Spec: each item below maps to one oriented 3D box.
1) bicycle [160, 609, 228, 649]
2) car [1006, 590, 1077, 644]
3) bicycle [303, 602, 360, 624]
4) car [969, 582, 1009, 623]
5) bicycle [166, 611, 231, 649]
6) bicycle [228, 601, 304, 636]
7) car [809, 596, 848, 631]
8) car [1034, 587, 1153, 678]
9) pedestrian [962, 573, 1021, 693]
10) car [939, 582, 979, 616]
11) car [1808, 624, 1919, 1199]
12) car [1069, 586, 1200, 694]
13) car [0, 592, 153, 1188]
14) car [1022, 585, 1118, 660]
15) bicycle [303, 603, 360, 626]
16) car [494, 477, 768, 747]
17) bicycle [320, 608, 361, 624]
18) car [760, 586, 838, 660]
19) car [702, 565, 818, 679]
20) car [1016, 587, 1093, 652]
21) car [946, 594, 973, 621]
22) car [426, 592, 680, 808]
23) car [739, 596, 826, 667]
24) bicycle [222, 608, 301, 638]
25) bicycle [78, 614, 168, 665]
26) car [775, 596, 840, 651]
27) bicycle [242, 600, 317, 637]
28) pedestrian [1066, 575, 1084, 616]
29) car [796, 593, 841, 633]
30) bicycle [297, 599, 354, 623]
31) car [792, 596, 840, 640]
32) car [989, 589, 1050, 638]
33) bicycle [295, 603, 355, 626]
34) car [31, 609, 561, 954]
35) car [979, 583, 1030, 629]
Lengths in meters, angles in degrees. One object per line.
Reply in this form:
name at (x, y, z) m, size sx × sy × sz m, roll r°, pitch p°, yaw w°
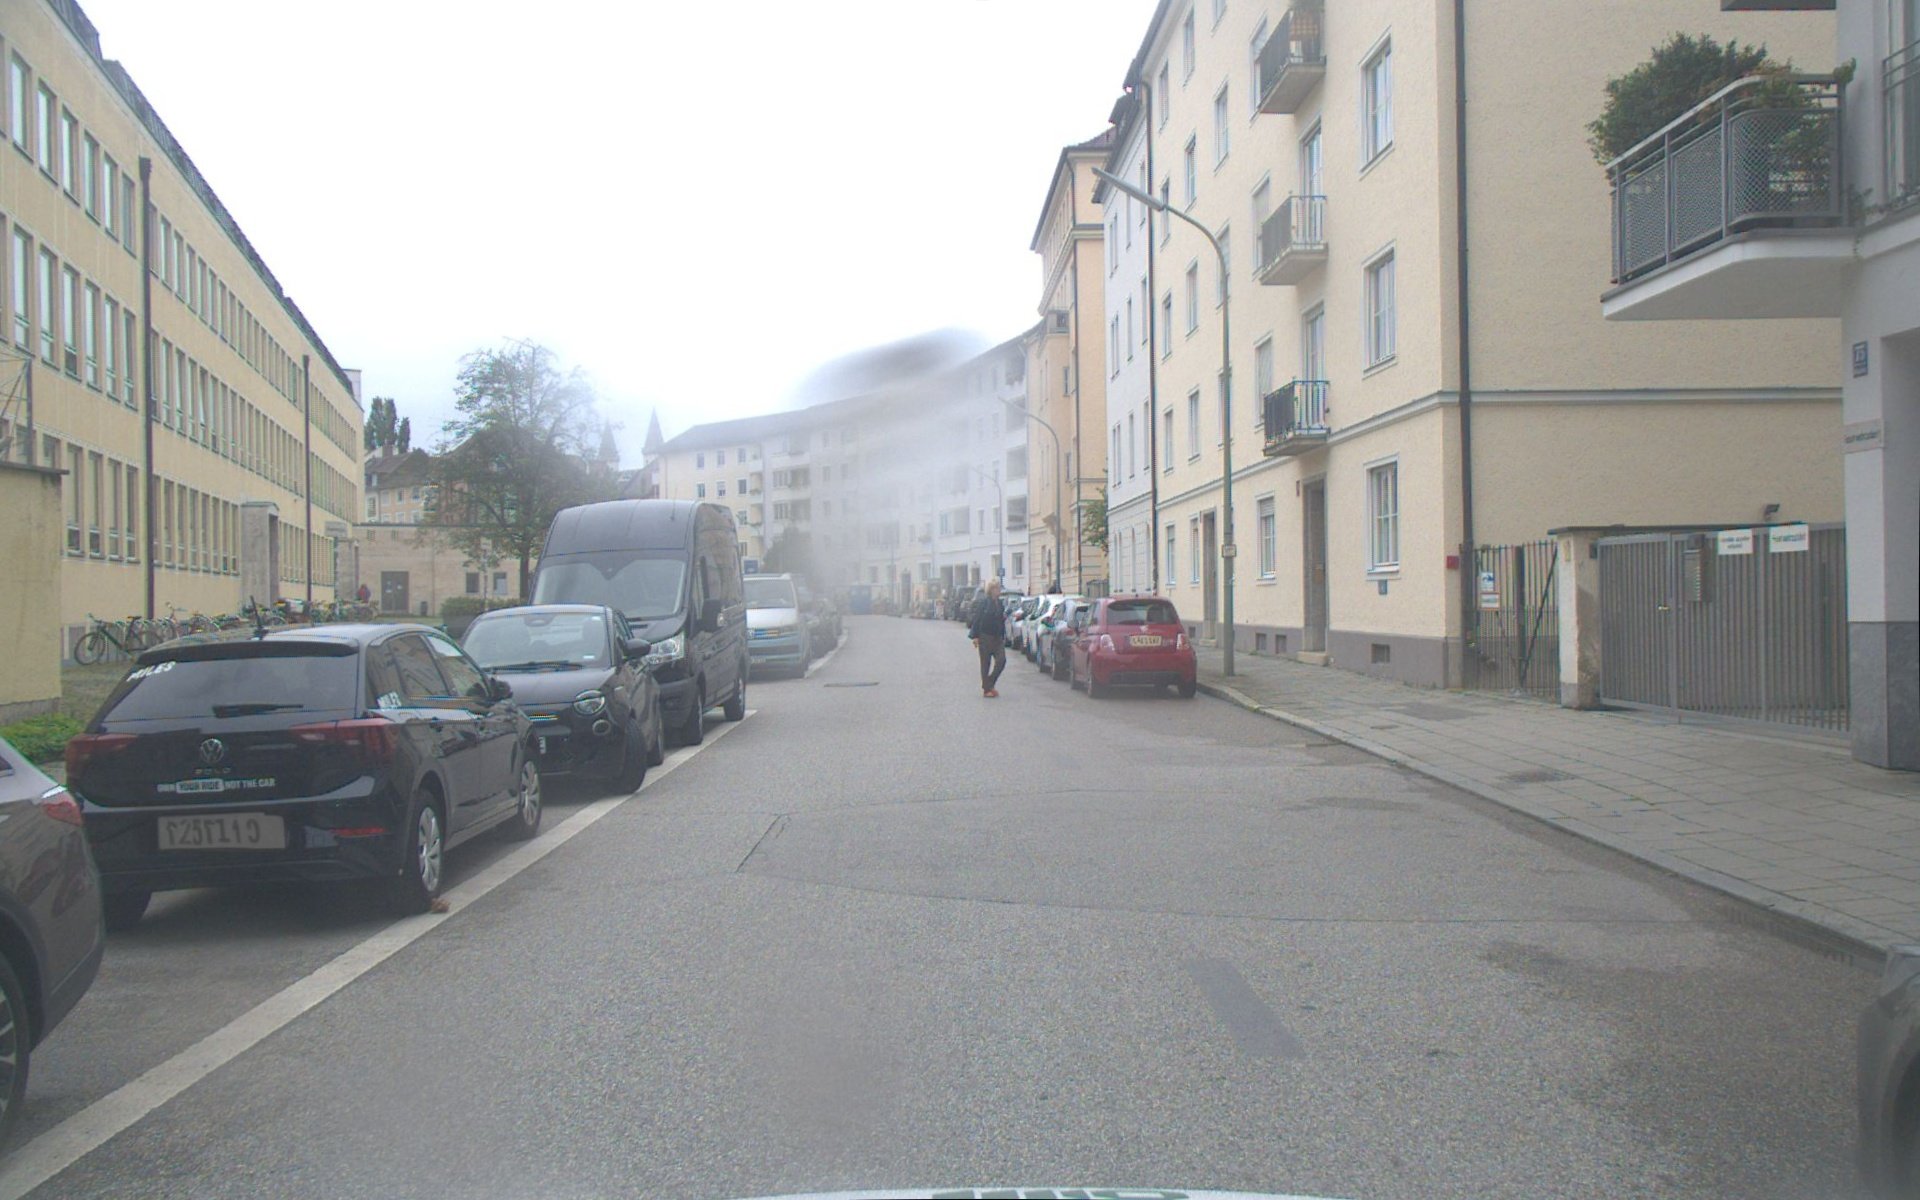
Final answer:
bicycle at (-19.173, 0.722, 41.401) m, size 1.503 × 0.971 × 0.364 m, roll 0°, pitch 0°, yaw -18°
car at (2.258, 0.479, 46.814) m, size 1.658 × 1.457 × 3.942 m, roll 0°, pitch 0°, yaw -2°
bicycle at (-25.328, 0.523, 66.680) m, size 2.087 × 0.849 × 0.644 m, roll -1°, pitch -1°, yaw -20°
car at (1.220, 0.077, 70.696) m, size 1.444 × 1.669 × 3.999 m, roll 0°, pitch 1°, yaw -3°
bicycle at (-19.752, 0.774, 42.910) m, size 1.503 × 0.971 × 0.364 m, roll 0°, pitch 0°, yaw -18°
bicycle at (-22.031, 0.595, 52.527) m, size 2.173 × 1.056 × 0.492 m, roll -1°, pitch -1°, yaw -20°
car at (-5.797, 0.571, 73.072) m, size 1.591 × 1.444 × 3.645 m, roll -2°, pitch 0°, yaw -4°
car at (2.390, 0.575, 30.604) m, size 1.658 × 1.517 × 4.341 m, roll -1°, pitch 0°, yaw -2°
pedestrian at (0.460, 0.491, 24.541) m, size 0.779 × 1.758 × 0.671 m, roll 0°, pitch -2°, yaw -9°
car at (-0.064, -0.067, 87.300) m, size 1.573 × 1.745 × 3.081 m, roll 0°, pitch 1°, yaw -11°
car at (3.027, 0.756, 1.983) m, size 1.728 × 1.432 × 4.075 m, roll -1°, pitch 0°, yaw -4°
car at (2.663, 0.573, 25.927) m, size 1.563 × 1.535 × 3.800 m, roll -1°, pitch 0°, yaw -1°
car at (-3.452, 0.804, 2.864) m, size 1.730 × 1.565 × 4.541 m, roll -3°, pitch 0°, yaw 1°
car at (2.387, 0.459, 36.800) m, size 1.658 × 1.517 × 4.281 m, roll -1°, pitch 1°, yaw -2°
bicycle at (-25.040, 0.579, 65.881) m, size 2.087 × 0.849 × 0.644 m, roll -1°, pitch -1°, yaw -20°
car at (-3.621, 0.082, 19.315) m, size 2.045 × 2.682 × 5.377 m, roll -1°, pitch 1°, yaw 0°
bicycle at (-28.397, 0.729, 75.808) m, size 1.712 × 0.727 × 0.611 m, roll -1°, pitch -1°, yaw -20°
car at (-4.103, 0.546, 42.612) m, size 1.668 × 1.720 × 4.026 m, roll -3°, pitch 1°, yaw -2°
car at (-3.810, 0.369, 32.211) m, size 1.845 × 1.965 × 4.598 m, roll -3°, pitch 1°, yaw -3°
car at (2.333, 0.443, 41.650) m, size 1.567 × 1.517 × 3.797 m, roll -1°, pitch 1°, yaw -2°
car at (-0.035, 0.358, 83.134) m, size 1.246 × 1.321 × 2.796 m, roll 0°, pitch 0°, yaw -3°
car at (-3.335, 0.734, 14.138) m, size 1.555 × 1.565 × 3.540 m, roll -1°, pitch 1°, yaw -5°
car at (-3.902, 0.658, 36.889) m, size 1.619 × 1.397 × 3.651 m, roll -3°, pitch 1°, yaw -2°
bicycle at (-21.235, 0.687, 50.332) m, size 2.173 × 0.849 × 0.492 m, roll -1°, pitch -1°, yaw -20°
bicycle at (-16.252, 0.761, 32.138) m, size 1.503 × 0.971 × 0.364 m, roll 0°, pitch 0°, yaw -18°
car at (-4.370, 0.646, 47.869) m, size 1.591 × 1.437 × 3.797 m, roll -3°, pitch 0°, yaw -2°
bicycle at (-22.642, 0.620, 55.103) m, size 2.211 × 1.189 × 1.042 m, roll 0°, pitch 0°, yaw -17°
pedestrian at (4.963, -0.187, 71.478) m, size 0.653 × 1.722 × 0.689 m, roll 1°, pitch -1°, yaw -2°
car at (-5.431, 0.487, 63.887) m, size 1.591 × 1.444 × 3.979 m, roll -2°, pitch 0°, yaw -4°
bicycle at (-26.164, 0.446, 68.243) m, size 2.173 × 0.911 × 0.644 m, roll -1°, pitch -1°, yaw -20°
car at (-5.077, 0.625, 58.691) m, size 1.592 × 1.444 × 3.978 m, roll -2°, pitch 0°, yaw -5°
car at (1.810, 0.393, 51.735) m, size 1.559 × 1.457 × 4.419 m, roll 0°, pitch 1°, yaw -2°
bicycle at (-24.963, 0.573, 65.085) m, size 2.173 × 0.849 × 0.492 m, roll -1°, pitch -1°, yaw -20°
car at (-3.479, 0.833, 9.455) m, size 1.667 × 1.471 × 3.822 m, roll 0°, pitch 1°, yaw -3°
car at (1.602, 0.191, 61.045) m, size 1.559 × 1.610 × 4.297 m, roll 0°, pitch 1°, yaw -3°
